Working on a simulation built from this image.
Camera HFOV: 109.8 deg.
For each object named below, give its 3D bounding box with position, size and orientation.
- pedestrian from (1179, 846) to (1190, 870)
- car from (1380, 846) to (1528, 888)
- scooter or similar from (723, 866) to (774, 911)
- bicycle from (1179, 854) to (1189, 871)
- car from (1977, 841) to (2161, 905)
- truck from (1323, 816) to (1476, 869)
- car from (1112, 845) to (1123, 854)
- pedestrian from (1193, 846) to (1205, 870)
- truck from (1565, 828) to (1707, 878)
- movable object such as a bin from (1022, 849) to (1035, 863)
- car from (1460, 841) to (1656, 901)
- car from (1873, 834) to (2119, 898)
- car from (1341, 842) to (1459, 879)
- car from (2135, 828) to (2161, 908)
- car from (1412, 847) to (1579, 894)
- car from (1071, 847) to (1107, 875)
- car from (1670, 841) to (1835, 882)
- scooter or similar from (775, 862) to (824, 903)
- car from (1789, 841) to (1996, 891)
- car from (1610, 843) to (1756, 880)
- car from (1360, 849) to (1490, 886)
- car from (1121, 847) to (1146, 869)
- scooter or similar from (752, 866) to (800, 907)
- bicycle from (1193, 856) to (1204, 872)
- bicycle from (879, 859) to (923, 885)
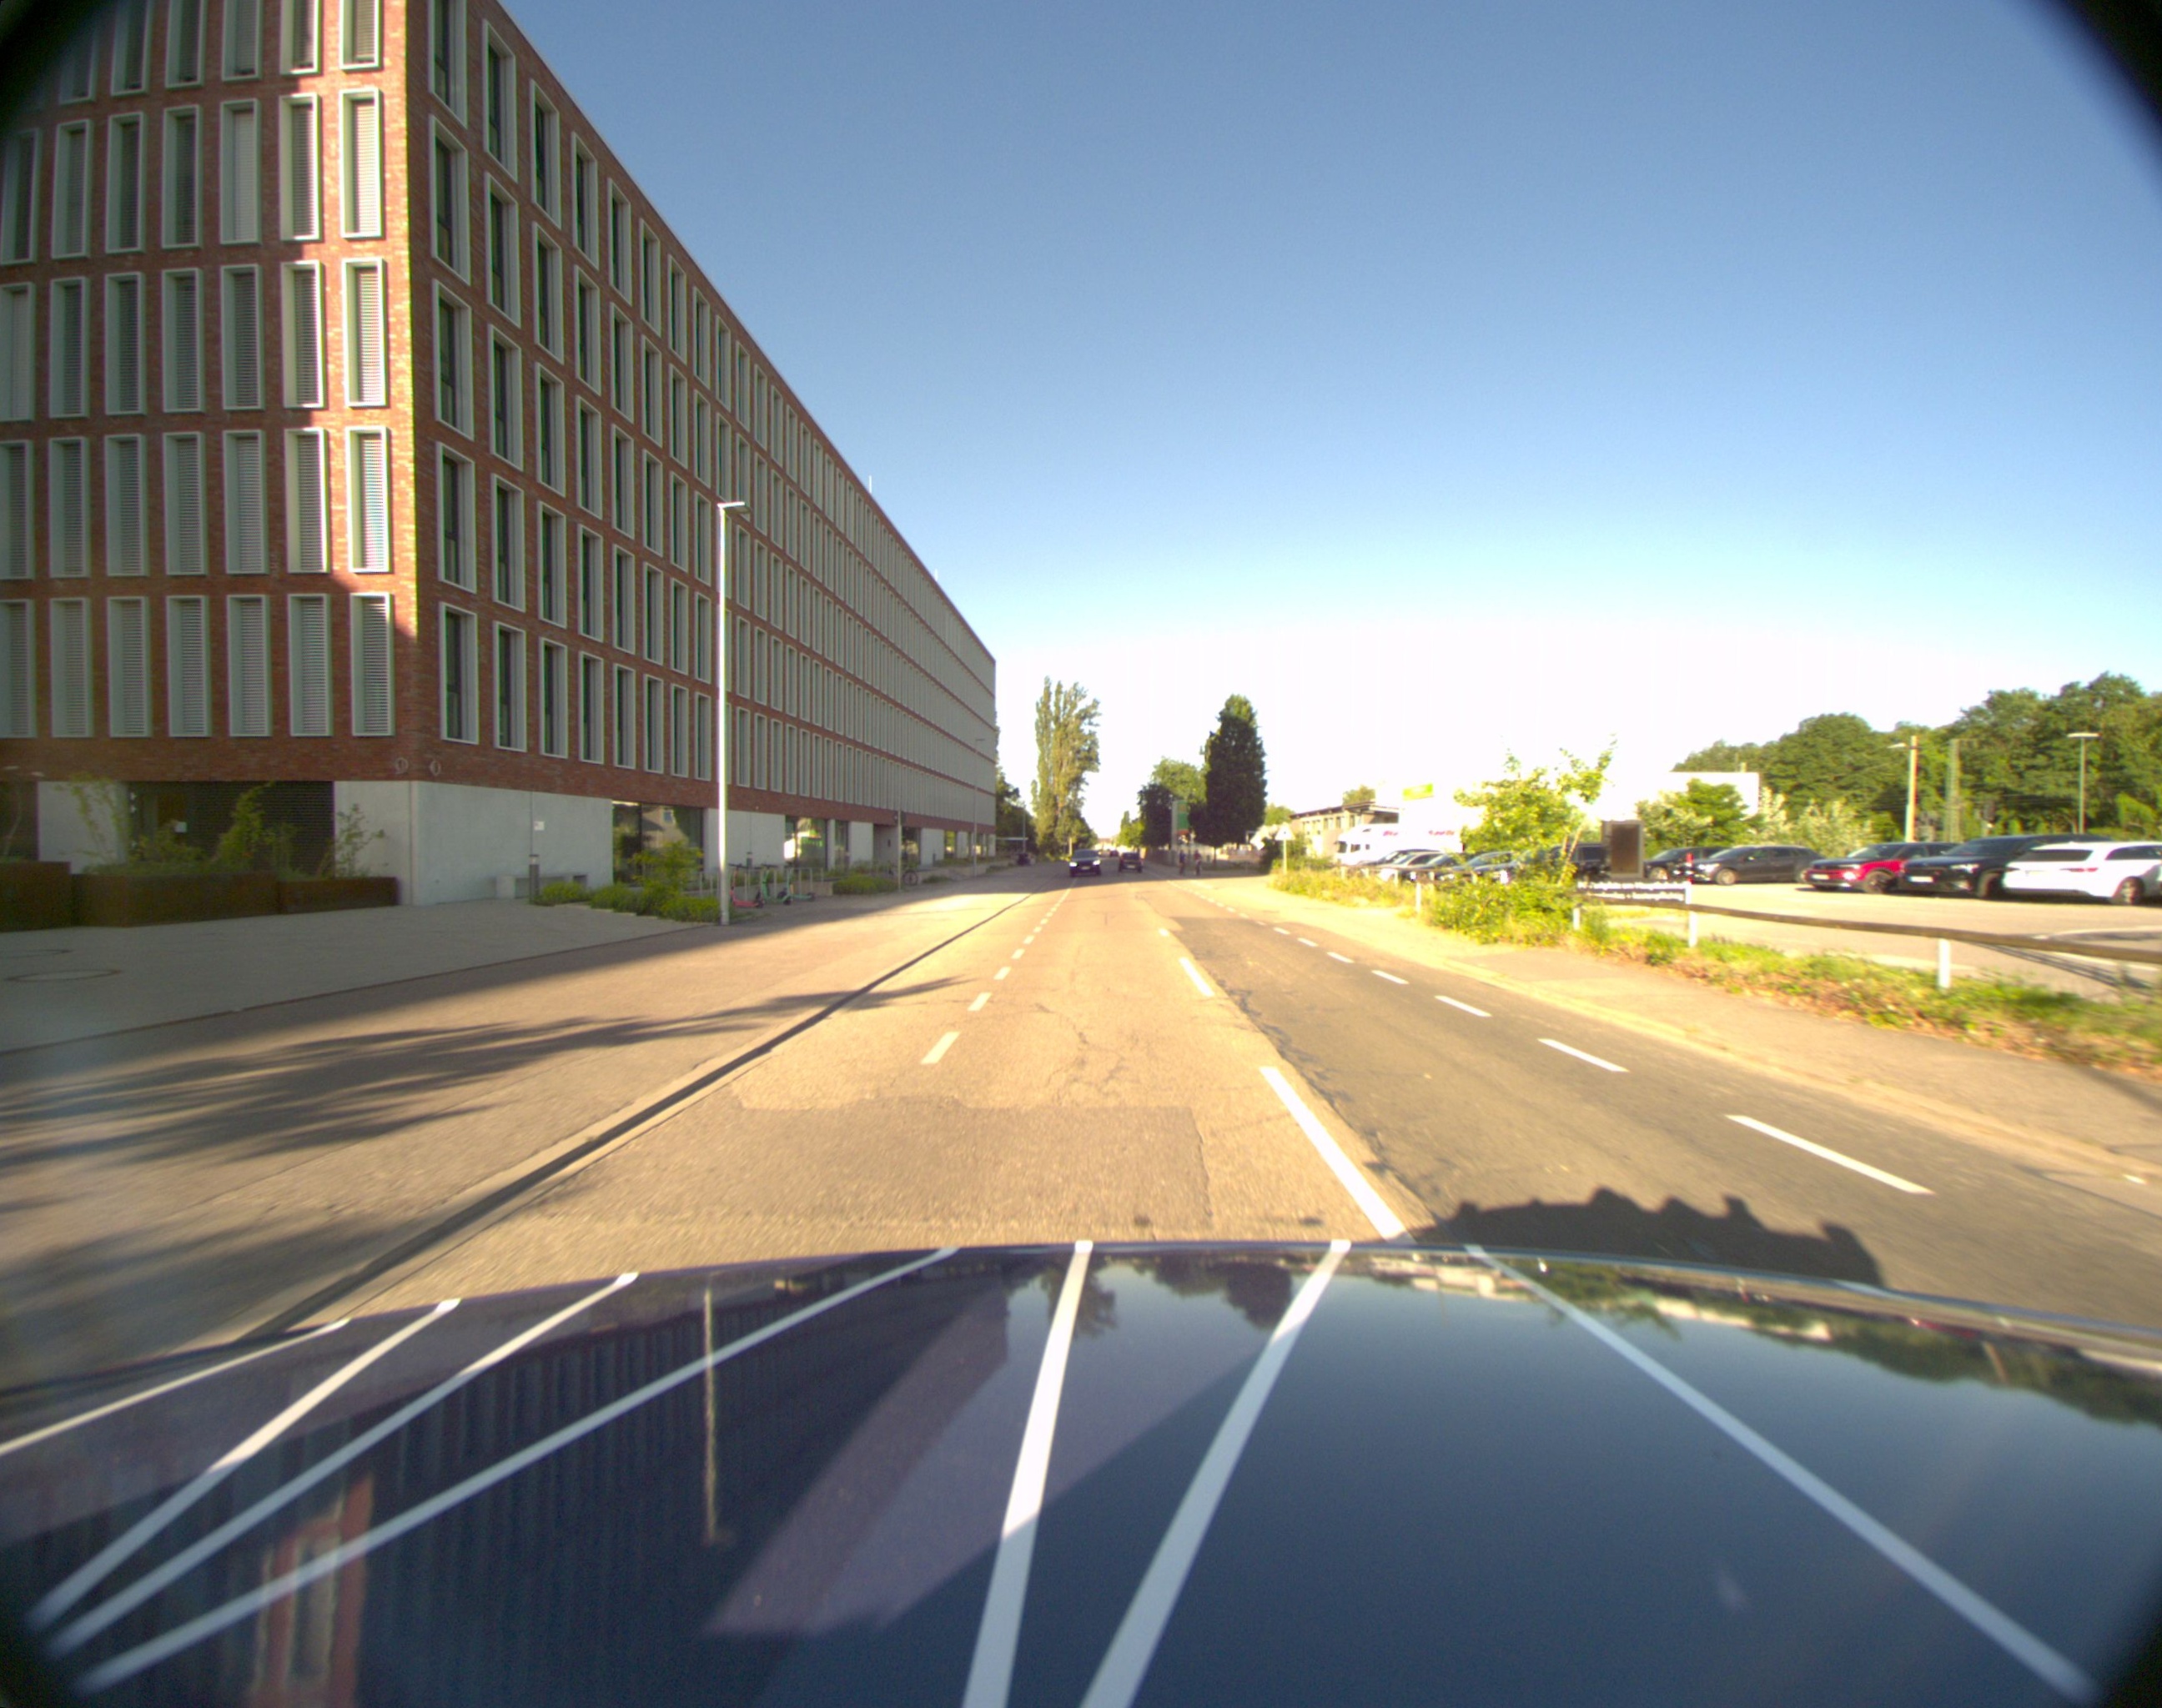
[{"bbox_3d":[7.383,0.270,54.239,0.722,1.711,1.057,0,1,2],"label":"pedestrian"},{"bbox_3d":[13.583,0.458,27.867,4.438,1.453,2.049,0,1,3],"label":"car"},{"bbox_3d":[-8.906,0.918,20.385,1.245,1.188,0.340,0,1,6],"label":"scooter or similar"},{"bbox_3d":[7.363,0.583,54.430,0.447,1.142,2.201,-2,1,2],"label":"bicycle"},{"bbox_3d":[24.212,0.393,17.782,4.171,1.389,2.048,-1,1,-2],"label":"car"},{"bbox_3d":[23.290,-0.849,55.910,10.123,3.594,2.775,-1,2,1],"label":"truck"},{"bbox_3d":[6.701,-0.797,139.655,1.745,1.517,4.111,3,1,1],"label":"car"},{"bbox_3d":[8.406,0.279,54.185,0.722,1.711,1.057,0,1,2],"label":"pedestrian"},{"bbox_3d":[32.255,-0.068,44.311,6.511,2.791,2.316,0,1,0],"label":"truck"},{"bbox_3d":[-5.223,0.210,75.864,1.131,1.328,1.345,0,1,1],"label":"movable object such as a bin"},{"bbox_3d":[13.840,0.475,22.292,4.438,1.660,2.049,0,1,3],"label":"car"},{"bbox_3d":[24.193,0.291,20.225,4.171,1.569,2.048,-1,1,-2],"label":"car"},{"bbox_3d":[14.081,0.261,33.744,4.438,1.571,2.049,0,1,3],"label":"car"},{"bbox_3d":[24.598,0.277,15.274,4.171,1.652,1.966,-1,1,-1],"label":"car"},{"bbox_3d":[13.658,0.514,25.274,4.438,1.453,2.049,0,1,3],"label":"car"},{"bbox_3d":[0.561,0.436,49.308,1.998,1.608,4.000,-4,1,4],"label":"car"},{"bbox_3d":[25.059,0.255,28.471,4.414,1.457,2.048,-1,1,-2],"label":"car"},{"bbox_3d":[-8.677,0.879,23.419,1.343,1.238,0.424,0,1,6],"label":"scooter or similar"},{"bbox_3d":[24.471,0.337,23.025,4.171,1.389,2.048,-1,1,-2],"label":"car"},{"bbox_3d":[24.631,0.284,31.217,4.414,1.457,2.048,-1,1,-2],"label":"car"},{"bbox_3d":[13.986,0.533,31.098,4.438,1.453,2.049,0,1,3],"label":"car"},{"bbox_3d":[3.893,0.291,56.568,1.658,1.495,4.000,1,1,2],"label":"car"},{"bbox_3d":[-8.768,0.915,21.829,1.245,1.149,0.366,0,1,6],"label":"scooter or similar"},{"bbox_3d":[8.398,0.699,54.296,0.471,1.142,1.869,-2,1,2],"label":"bicycle"},{"bbox_3d":[-8.312,0.838,35.173,1.937,1.163,0.375,1,1,-4],"label":"bicycle"}]
